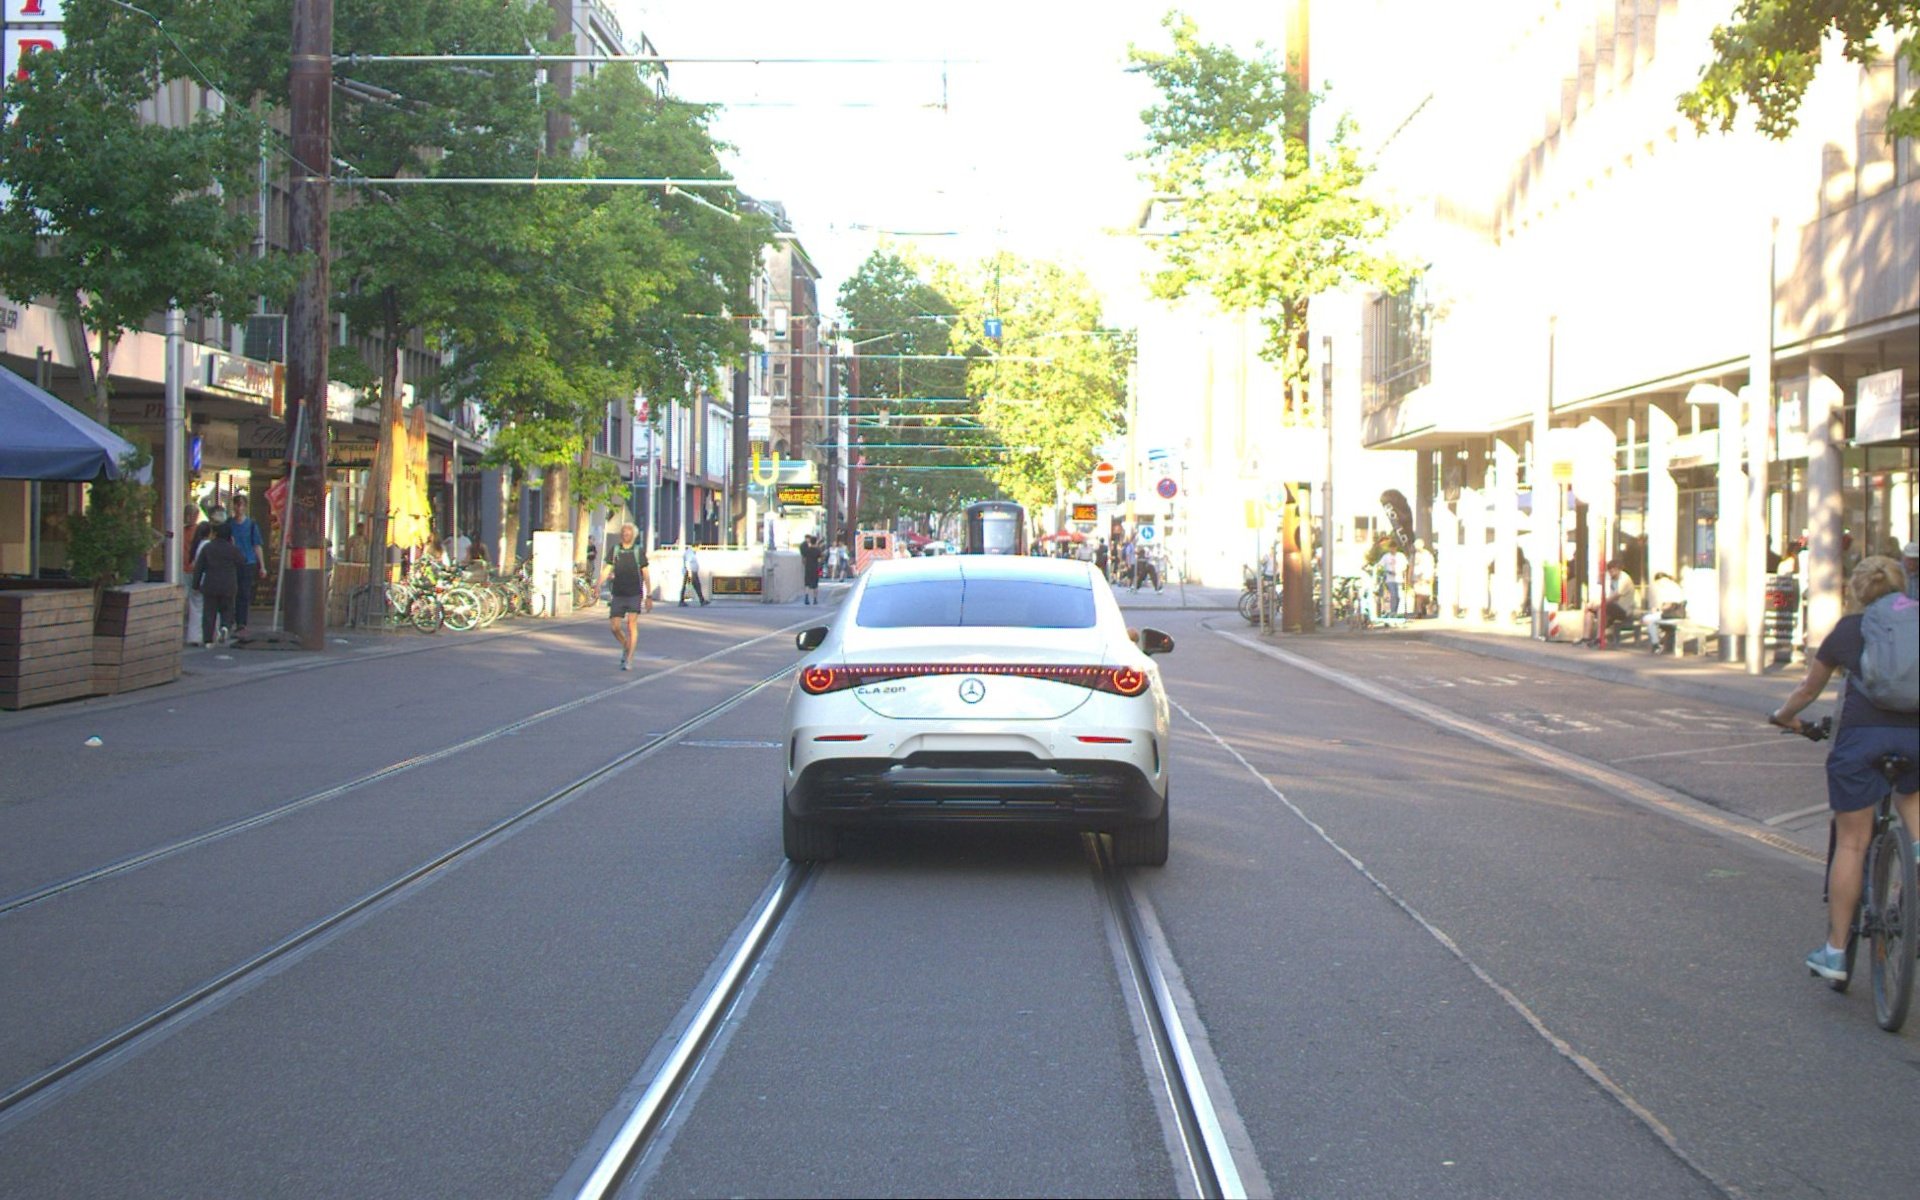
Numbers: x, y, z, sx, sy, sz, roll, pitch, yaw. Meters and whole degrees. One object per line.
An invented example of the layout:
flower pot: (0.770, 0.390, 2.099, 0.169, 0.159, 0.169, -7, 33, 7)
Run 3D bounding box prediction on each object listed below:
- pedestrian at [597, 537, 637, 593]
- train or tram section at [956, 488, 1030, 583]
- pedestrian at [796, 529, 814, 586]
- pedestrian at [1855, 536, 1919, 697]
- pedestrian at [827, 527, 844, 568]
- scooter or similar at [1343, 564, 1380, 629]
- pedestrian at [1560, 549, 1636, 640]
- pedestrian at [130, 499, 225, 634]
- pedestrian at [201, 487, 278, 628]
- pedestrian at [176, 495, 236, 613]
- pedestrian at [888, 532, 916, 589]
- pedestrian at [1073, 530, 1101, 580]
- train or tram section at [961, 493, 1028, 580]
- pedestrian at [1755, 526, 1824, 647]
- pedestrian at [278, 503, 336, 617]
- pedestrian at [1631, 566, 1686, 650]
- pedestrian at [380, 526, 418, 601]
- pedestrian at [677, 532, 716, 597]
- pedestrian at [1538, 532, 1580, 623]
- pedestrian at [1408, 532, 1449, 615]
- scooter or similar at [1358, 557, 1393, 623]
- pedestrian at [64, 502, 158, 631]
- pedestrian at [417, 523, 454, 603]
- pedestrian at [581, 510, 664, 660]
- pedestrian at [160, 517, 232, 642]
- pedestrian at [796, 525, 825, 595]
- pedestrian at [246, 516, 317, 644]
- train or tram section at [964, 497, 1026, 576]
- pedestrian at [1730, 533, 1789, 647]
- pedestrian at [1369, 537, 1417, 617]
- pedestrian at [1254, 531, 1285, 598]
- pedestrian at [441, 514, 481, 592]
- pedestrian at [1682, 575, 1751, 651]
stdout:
pedestrian: (-9.223, -0.933, 92.542, 0.955, 1.491, 0.944, 1, 1, 2)
train or tram section: (1.296, -2.480, 133.290, 2.694, 3.504, 12.545, 0, 1, 1)
pedestrian: (-4.747, -1.299, 105.492, 0.519, 1.754, 0.551, 0, 1, -2)
pedestrian: (9.341, 0.158, 34.158, 0.681, 1.567, 0.632, 2, 1, 1)
pedestrian: (-4.878, -2.049, 134.534, 0.660, 1.593, 0.573, 0, 1, 0)
scooter or similar: (7.924, -0.070, 67.818, 0.527, 1.273, 0.660, -1, 1, -10)
pedestrian: (9.826, -0.081, 52.934, 0.833, 1.372, 0.778, 1, 1, -21)
pedestrian: (-10.308, -0.443, 45.308, 0.850, 1.735, 0.834, 3, 1, 21)
pedestrian: (-10.135, -0.602, 48.390, 0.800, 1.917, 1.071, 3, 1, -2)
pedestrian: (-11.812, -0.726, 53.856, 0.622, 1.797, 0.933, 3, 1, 1)
pedestrian: (-1.831, -1.245, 108.288, 0.800, 1.776, 0.849, 2, 1, 0)
pedestrian: (4.608, -1.627, 124.465, 0.960, 1.779, 0.804, -1, 1, 0)
train or tram section: (1.472, -2.700, 145.840, 2.694, 3.504, 12.545, 0, 1, 1)
pedestrian: (11.817, -0.194, 48.990, 0.744, 1.694, 0.858, 1, 1, 1)
pedestrian: (-10.254, -0.637, 54.019, 0.622, 1.741, 0.933, 3, 1, 1)
pedestrian: (10.064, 0.111, 49.557, 0.666, 1.194, 0.784, 1, 1, 6)
pedestrian: (-11.534, -0.752, 70.712, 0.714, 1.542, 0.685, 0, 1, -5)
pedestrian: (-6.932, -0.932, 90.472, 0.905, 1.692, 0.849, 1, 1, 2)
pedestrian: (10.898, -0.411, 62.549, 0.637, 1.647, 0.781, 1, 1, 2)
pedestrian: (10.430, -0.587, 76.604, 0.701, 1.806, 1.033, -3, 1, 0)
scooter or similar: (8.114, -0.192, 67.178, 0.491, 1.273, 0.660, -1, 1, -10)
pedestrian: (-11.059, -0.432, 44.795, 0.849, 1.632, 0.761, 3, 1, 21)
pedestrian: (-10.839, -0.767, 71.027, 0.714, 1.634, 0.685, 0, 1, -5)
pedestrian: (-4.142, -0.187, 42.217, 0.841, 1.795, 0.790, 2, 1, 2)
pedestrian: (-9.492, -0.264, 42.712, 0.622, 1.504, 0.833, 3, 1, 1)
pedestrian: (-4.098, -1.097, 94.515, 0.540, 1.922, 0.571, 1, 1, 45)
pedestrian: (-8.440, -0.251, 42.769, 0.622, 1.545, 0.852, 3, 1, 1)
train or tram section: (1.631, -2.903, 157.679, 2.694, 3.504, 11.143, 0, 1, 1)
pedestrian: (12.406, -0.162, 53.360, 0.715, 1.735, 0.835, 1, 1, 1)
pedestrian: (9.672, -0.521, 76.839, 0.899, 1.739, 0.689, -3, 1, 1)
pedestrian: (8.344, -0.970, 92.702, 0.748, 1.779, 0.767, -1, 1, 0)
pedestrian: (-11.306, -1.062, 77.919, 0.785, 1.760, 0.537, 0, 1, -23)
pedestrian: (10.563, 0.178, 48.023, 0.836, 1.027, 0.696, 1, 1, 6)
